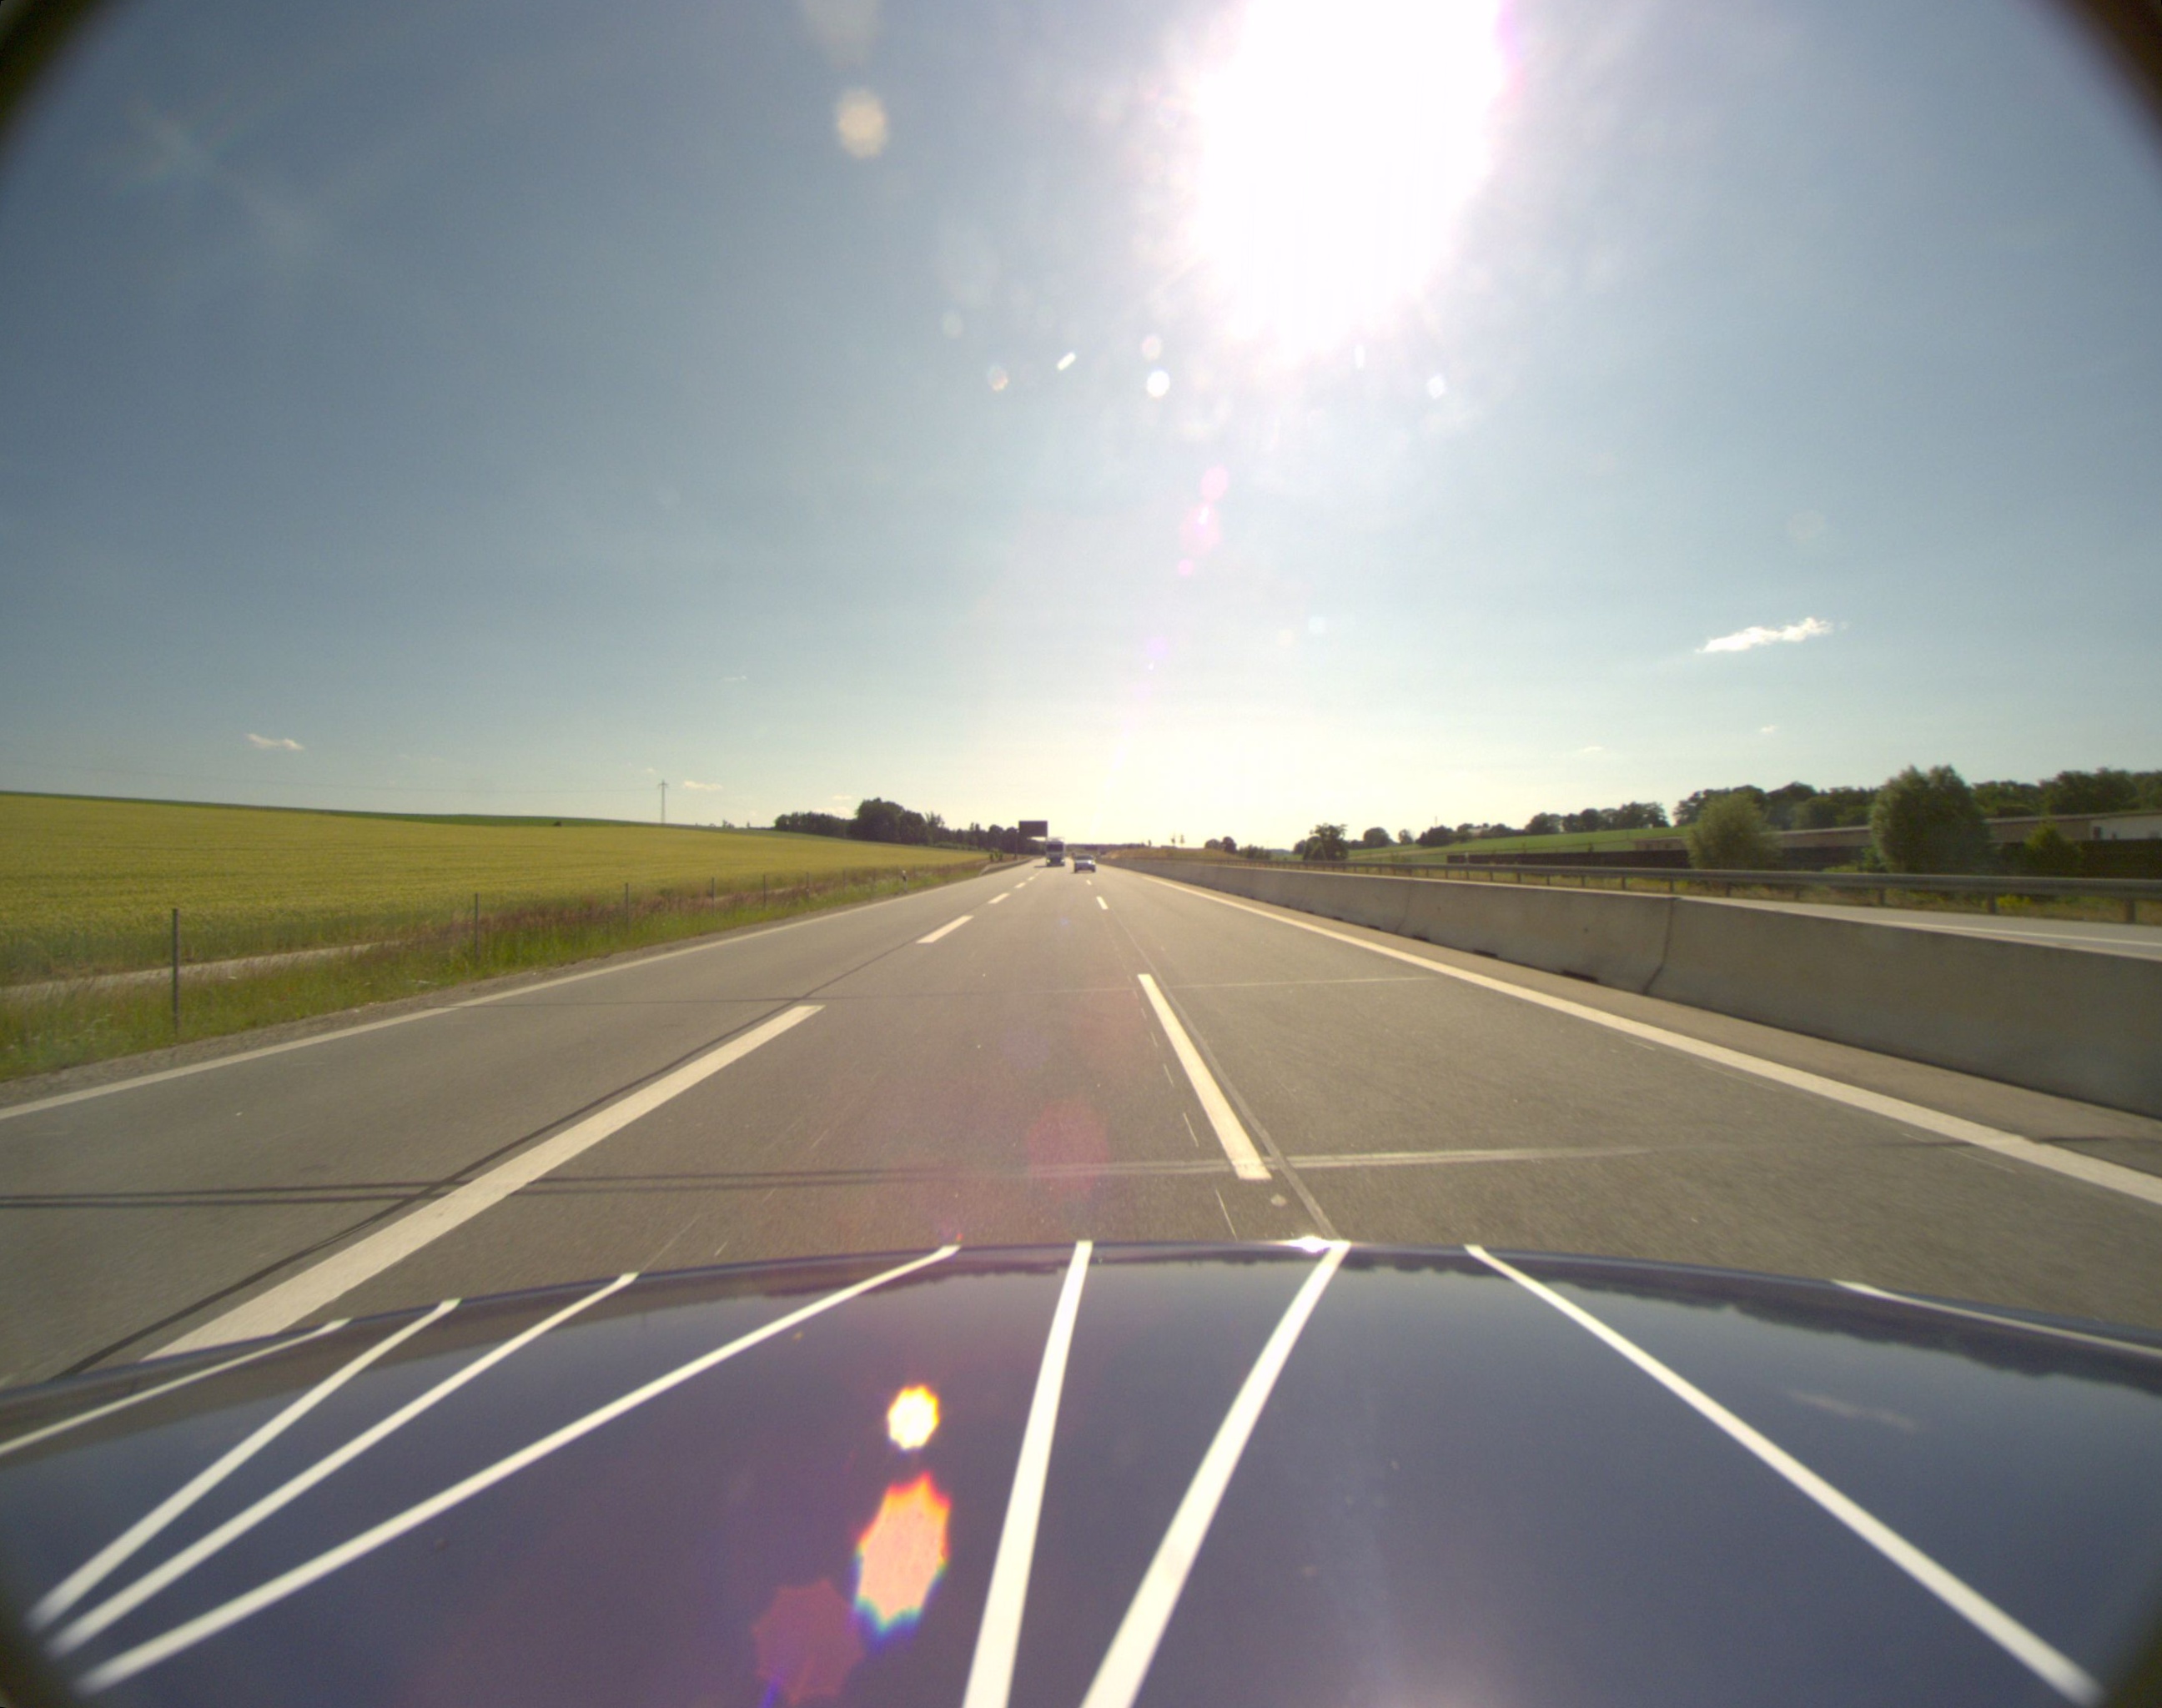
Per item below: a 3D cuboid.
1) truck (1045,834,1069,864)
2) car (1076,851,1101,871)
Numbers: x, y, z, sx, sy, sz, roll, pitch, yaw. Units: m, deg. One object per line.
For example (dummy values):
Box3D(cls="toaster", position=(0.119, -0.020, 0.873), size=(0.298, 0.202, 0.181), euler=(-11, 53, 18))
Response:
Box3D(cls="truck", position=(-3.229, -0.673, 104.127), size=(3.091, 3.991, 6.187), euler=(0, 0, -1))
Box3D(cls="car", position=(0.653, 0.582, 65.559), size=(1.891, 1.565, 3.792), euler=(-3, 0, 3))
